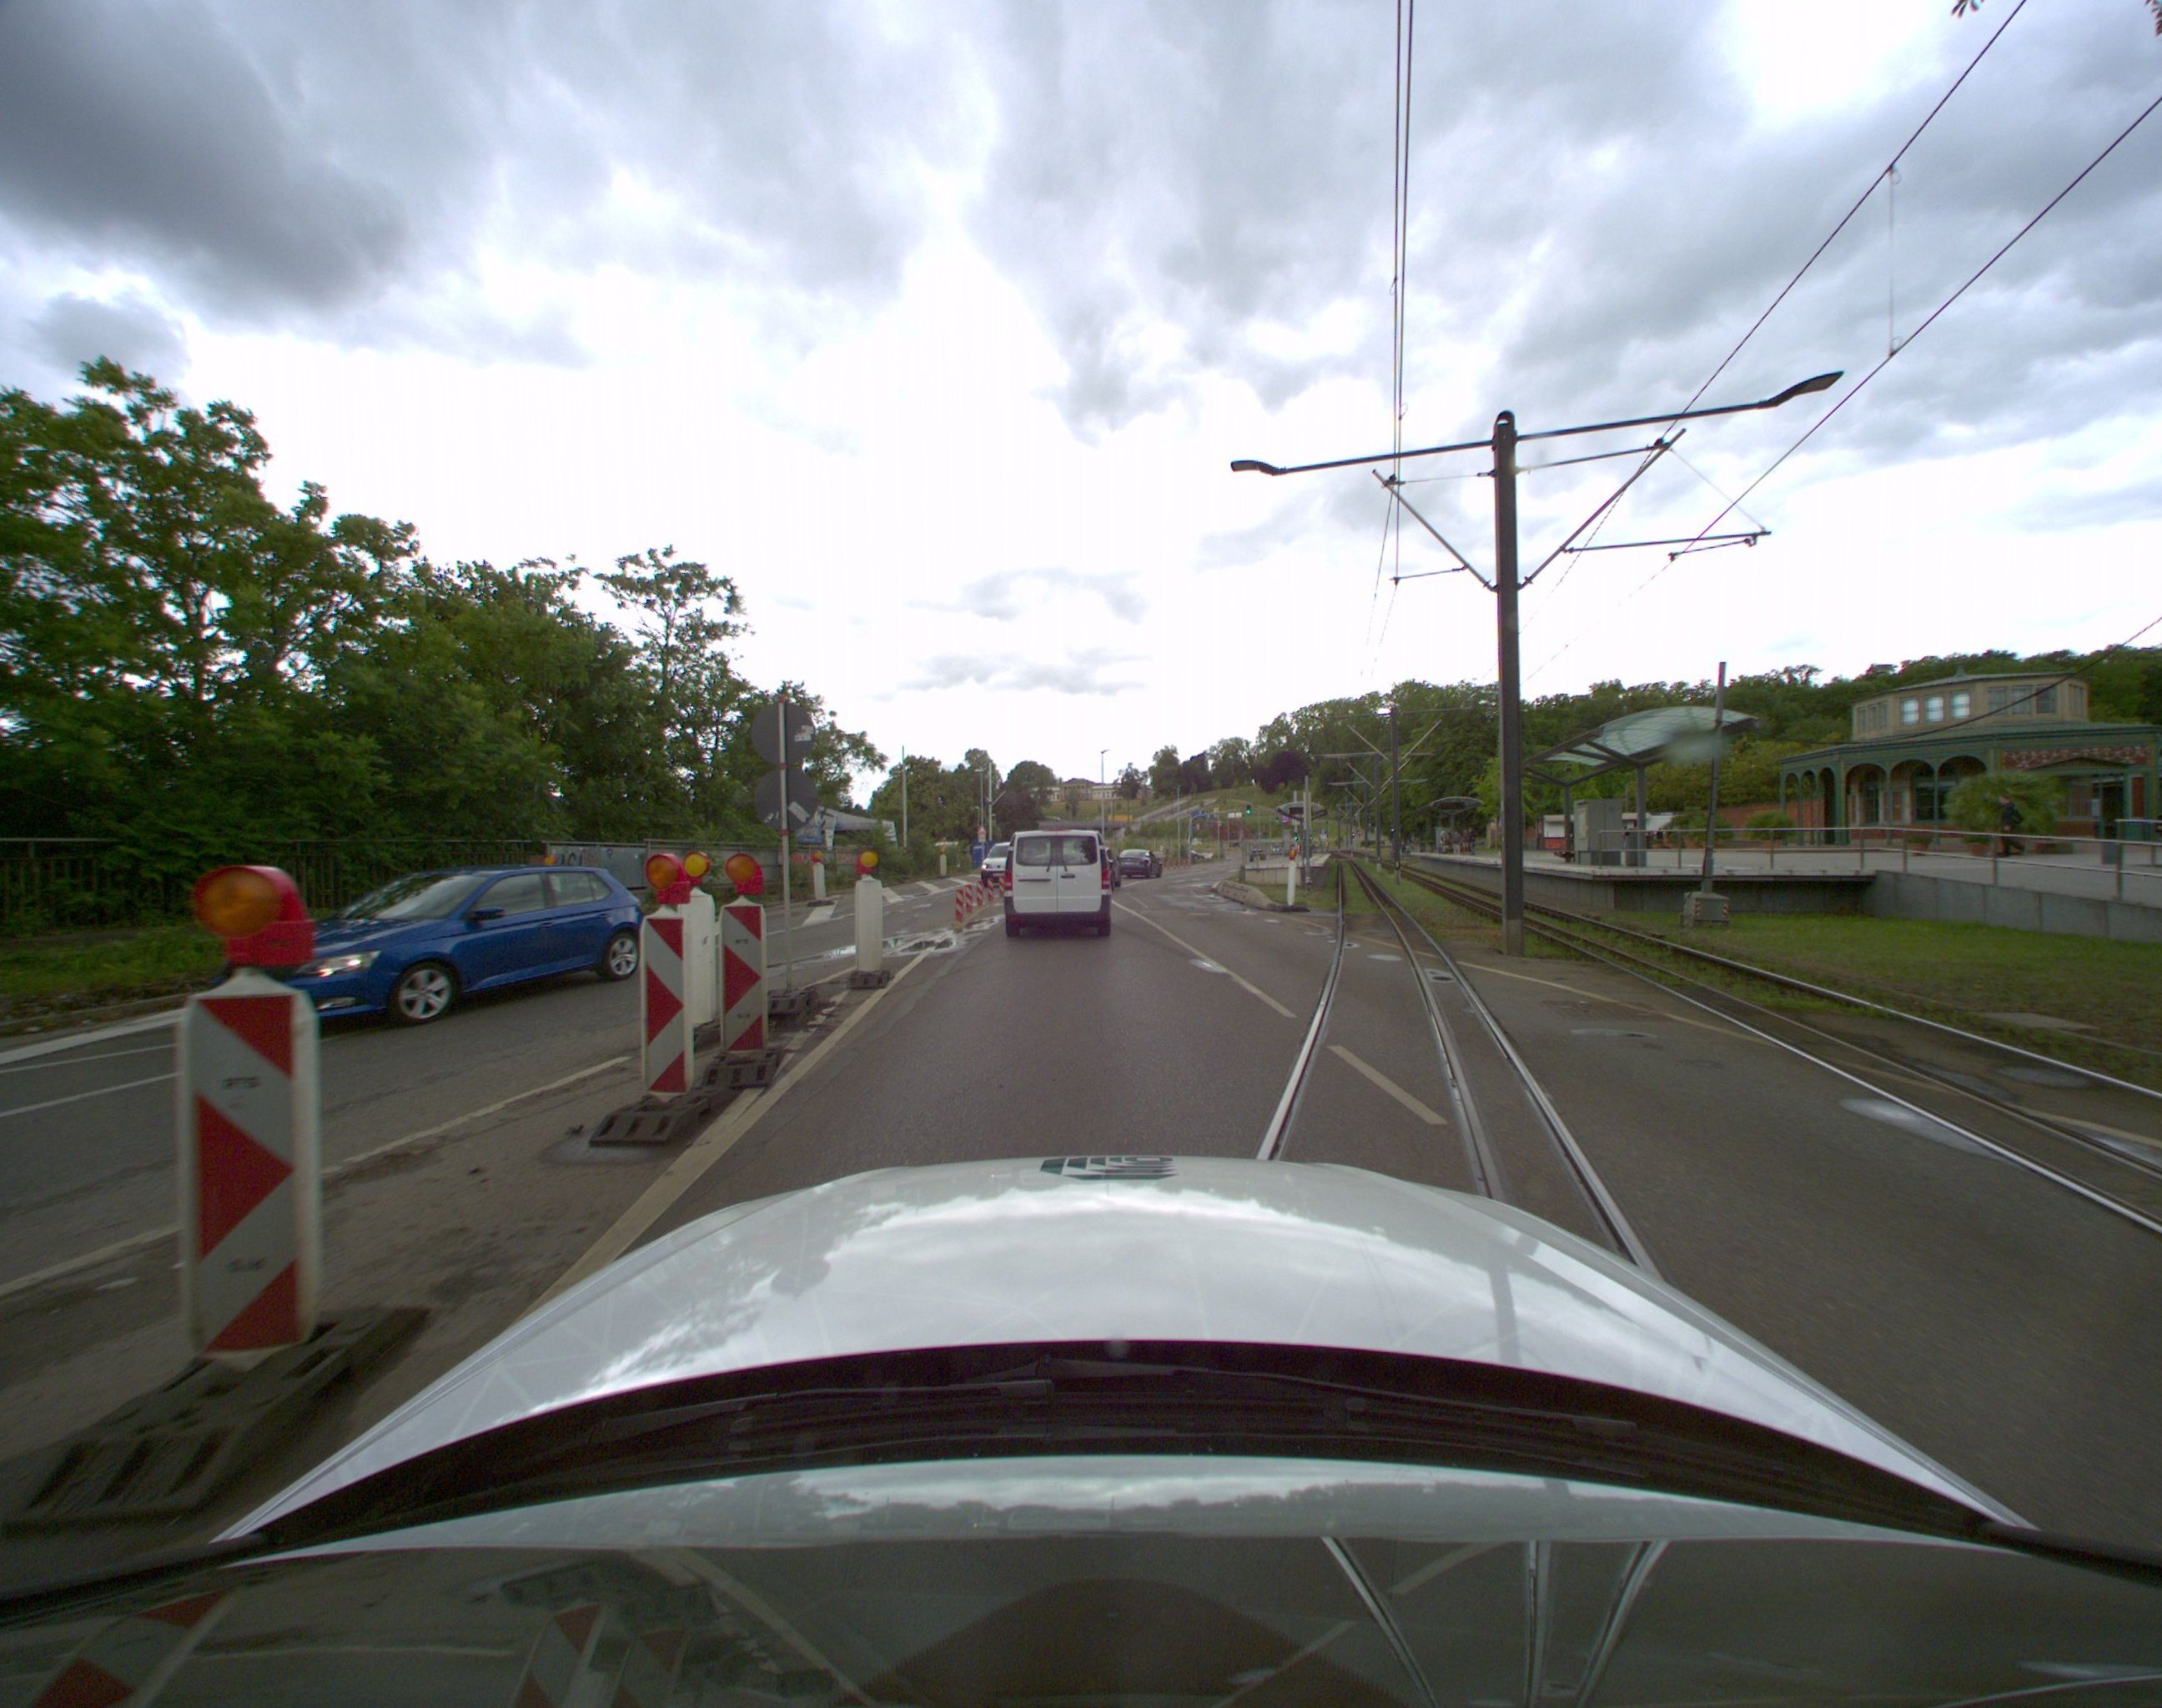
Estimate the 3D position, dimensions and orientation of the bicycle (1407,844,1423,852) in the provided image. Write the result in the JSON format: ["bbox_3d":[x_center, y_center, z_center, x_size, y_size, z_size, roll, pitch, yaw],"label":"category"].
[{"bbox_3d":[44.885,-0.798,109.351,1.897,0.975,0.533,-2,0,18],"label":"bicycle"}]

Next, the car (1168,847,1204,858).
[{"bbox_3d":[15.470,-0.246,119.992,4.665,1.477,2.012,-1,1,27],"label":"car"}]

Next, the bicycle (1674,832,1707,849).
[{"bbox_3d":[39.108,-0.875,52.265,0.563,1.061,1.708,1,1,-13],"label":"bicycle"}]

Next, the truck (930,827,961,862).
[{"bbox_3d":[-13.880,-0.954,83.372,2.793,3.335,8.449,-3,1,-10],"label":"truck"}]

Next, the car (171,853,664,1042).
[{"bbox_3d":[-6.649,0.796,8.826,1.684,1.461,3.924,-2,1,10],"label":"car"}]

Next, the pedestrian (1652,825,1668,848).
[{"bbox_3d":[40.763,-1.236,57.301,0.651,1.583,0.623,1,0,4],"label":"pedestrian"}]

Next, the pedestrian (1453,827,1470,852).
[{"bbox_3d":[26.682,-1.008,57.136,0.855,1.677,0.763,1,0,7],"label":"pedestrian"}]

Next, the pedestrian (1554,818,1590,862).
[{"bbox_3d":[17.531,-0.510,29.076,0.757,1.541,0.785,1,0,-6],"label":"pedestrian"}]

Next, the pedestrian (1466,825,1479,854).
[{"bbox_3d":[25.465,-0.942,52.968,0.627,1.838,0.955,1,0,19],"label":"pedestrian"}]

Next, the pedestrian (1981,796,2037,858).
[{"bbox_3d":[28.172,-0.816,24.728,0.549,1.837,0.946,1,0,-18],"label":"pedestrian"}]

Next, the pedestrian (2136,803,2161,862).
[{"bbox_3d":[22.252,-0.426,16.625,0.544,1.201,0.671,1,0,11],"label":"pedestrian"}]

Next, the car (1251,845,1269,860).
[{"bbox_3d":[21.761,-0.179,98.866,1.980,1.771,4.015,1,1,13],"label":"car"}]

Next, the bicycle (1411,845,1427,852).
[{"bbox_3d":[44.326,-0.765,106.684,1.897,0.895,0.533,-2,0,18],"label":"bicycle"}]

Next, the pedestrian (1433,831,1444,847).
[{"bbox_3d":[29.203,-1.238,66.578,0.668,1.323,0.972,1,1,16],"label":"pedestrian"}]

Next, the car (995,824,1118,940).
[{"bbox_3d":[-0.307,0.435,15.640,1.951,1.903,4.466,0,1,4],"label":"car"}]

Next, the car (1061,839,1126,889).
[{"bbox_3d":[0.529,0.329,30.525,1.827,1.729,4.073,1,1,9],"label":"car"}]

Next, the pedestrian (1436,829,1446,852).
[{"bbox_3d":[27.086,-1.018,61.223,0.540,1.677,0.678,1,0,14],"label":"pedestrian"}]

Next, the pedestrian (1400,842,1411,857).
[{"bbox_3d":[35.702,-0.476,89.482,0.831,1.609,0.777,-2,0,-5],"label":"pedestrian"}]

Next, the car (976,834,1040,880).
[{"bbox_3d":[-2.952,0.059,34.047,1.855,1.782,4.755,-1,1,5],"label":"car"}]

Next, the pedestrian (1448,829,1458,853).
[{"bbox_3d":[25.642,-0.896,56.090,0.520,1.620,0.679,1,0,19],"label":"pedestrian"}]

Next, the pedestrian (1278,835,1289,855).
[{"bbox_3d":[15.812,-0.727,63.549,0.744,1.553,0.778,1,3,19],"label":"pedestrian"}]

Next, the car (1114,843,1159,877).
[{"bbox_3d":[2.869,0.267,41.631,1.827,1.582,4.074,1,1,10],"label":"car"}]

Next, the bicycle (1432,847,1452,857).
[{"bbox_3d":[36.534,-0.219,82.409,1.858,0.963,0.535,2,0,18],"label":"bicycle"}]

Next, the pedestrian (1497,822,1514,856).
[{"bbox_3d":[21.753,-0.764,41.741,0.628,1.687,0.870,1,0,17],"label":"pedestrian"}]

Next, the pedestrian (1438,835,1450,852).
[{"bbox_3d":[25.717,-0.719,57.698,0.652,1.191,0.679,1,0,19],"label":"pedestrian"}]

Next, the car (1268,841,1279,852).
[{"bbox_3d":[32.155,-1.268,135.881,1.740,1.771,4.015,1,1,13],"label":"car"}]

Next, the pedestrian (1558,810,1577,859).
[{"bbox_3d":[16.911,-0.674,28.315,0.481,1.660,0.632,2,0,26],"label":"pedestrian"}]
